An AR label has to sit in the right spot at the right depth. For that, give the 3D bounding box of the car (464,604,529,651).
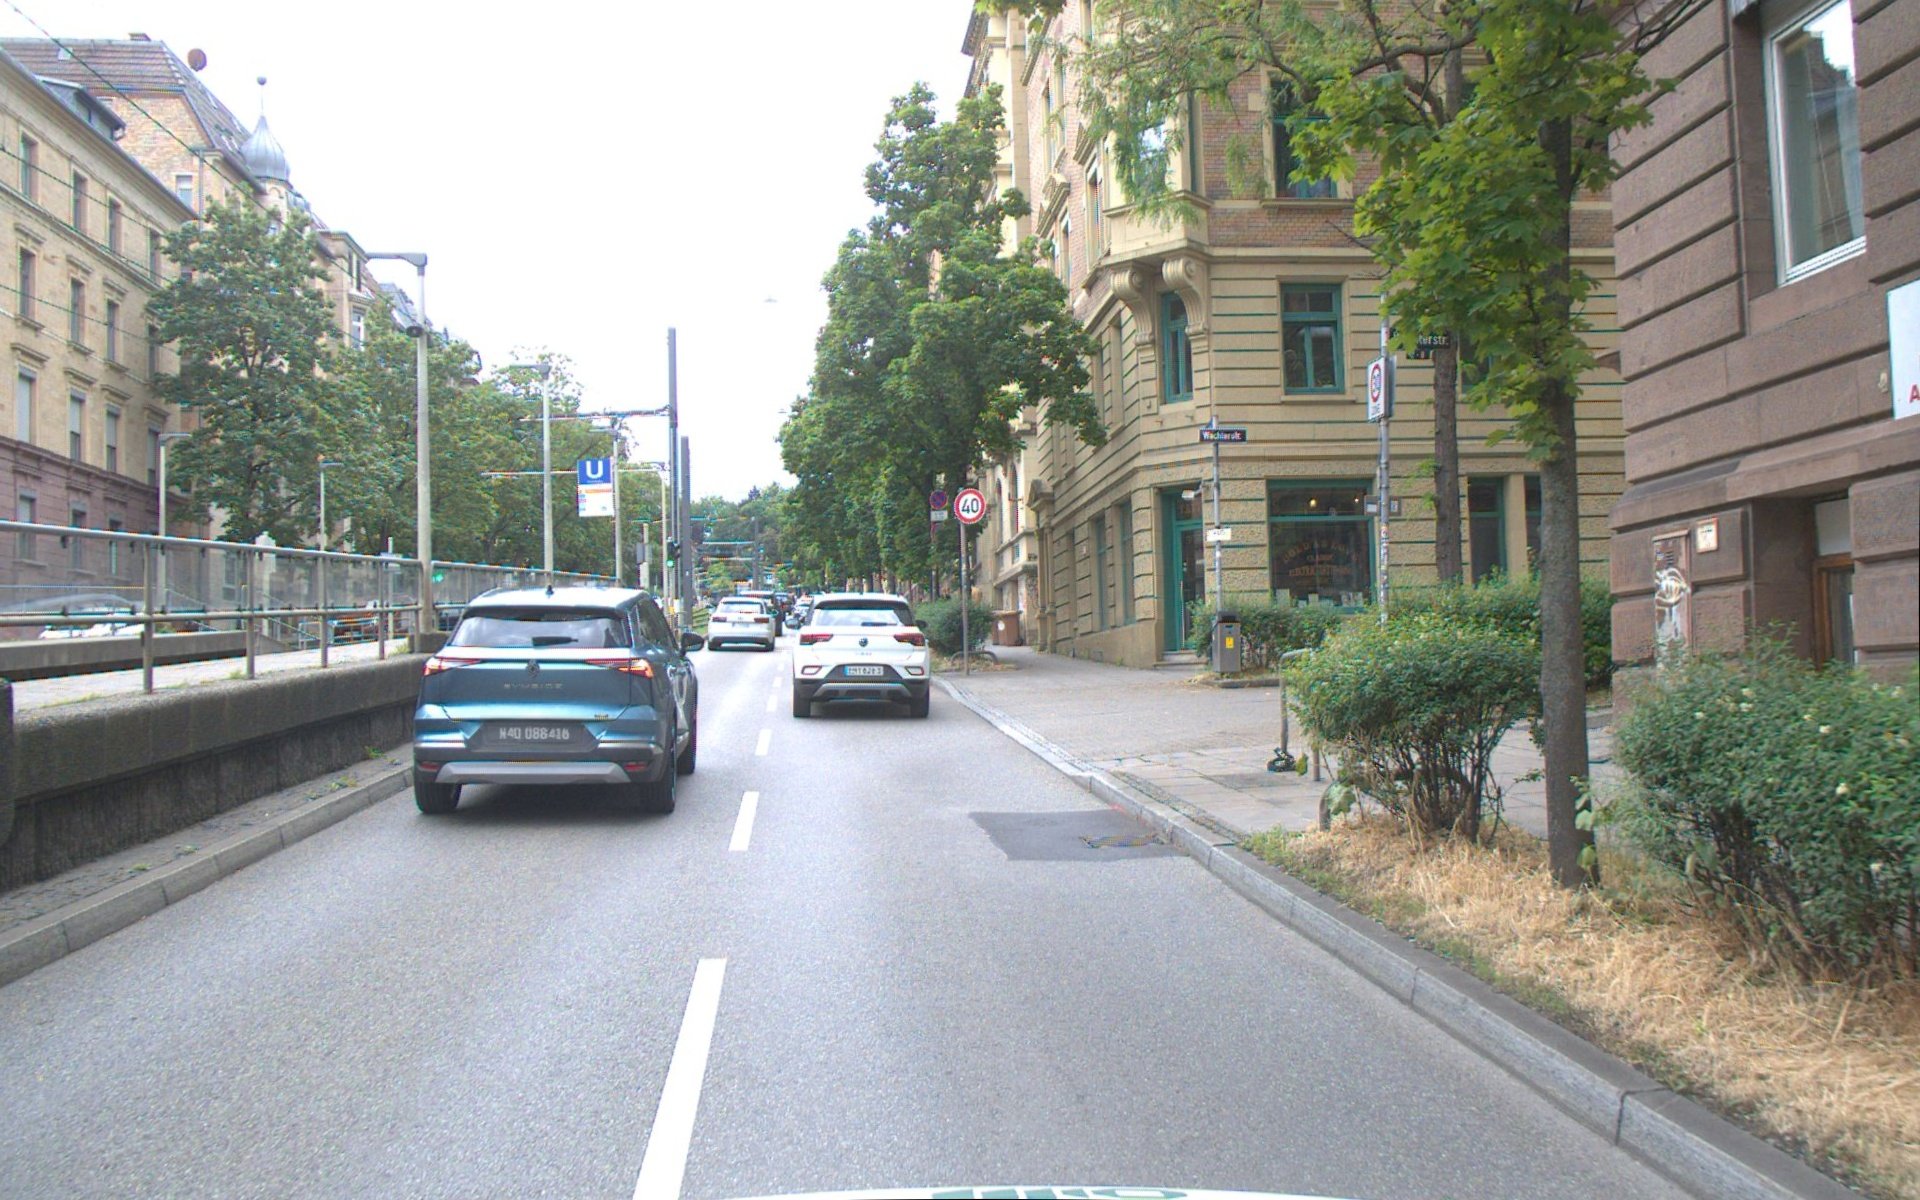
[{"bbox_3d":[-18.791,1.082,67.271,1.676,1.766,4.571,-1,0,-5],"label":"car"}]

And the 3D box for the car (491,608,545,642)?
[{"bbox_3d":[-20.770,1.175,77.824,1.645,1.472,4.214,-2,0,-5],"label":"car"}]

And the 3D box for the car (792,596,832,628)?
[{"bbox_3d":[-7.669,0.612,85.536,2.028,1.574,4.188,0,0,-6],"label":"car"}]

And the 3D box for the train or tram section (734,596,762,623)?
[{"bbox_3d":[-27.943,1.284,218.239,2.937,3.407,13.425,-1,0,-5],"label":"train or tram section"}]

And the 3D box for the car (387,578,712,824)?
[{"bbox_3d":[-2.953,0.667,12.772,1.800,1.574,4.188,0,0,-5],"label":"car"}]

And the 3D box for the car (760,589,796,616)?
[{"bbox_3d":[-10.914,0.164,99.026,2.030,1.574,4.185,0,0,-8],"label":"car"}]

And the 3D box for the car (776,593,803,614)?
[{"bbox_3d":[-13.135,0.298,127.068,2.029,1.574,4.187,0,0,-7],"label":"car"}]

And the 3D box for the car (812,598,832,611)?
[{"bbox_3d":[-16.494,0.537,197.662,2.030,1.574,4.184,0,0,-9],"label":"car"}]

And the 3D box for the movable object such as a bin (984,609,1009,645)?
[{"bbox_3d":[1.011,0.742,45.433,0.599,0.935,0.493,-3,0,-3],"label":"movable object such as a bin"}]

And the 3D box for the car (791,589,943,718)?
[{"bbox_3d":[-1.342,0.670,22.295,1.800,1.574,4.187,0,0,-7],"label":"car"}]

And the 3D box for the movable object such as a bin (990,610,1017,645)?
[{"bbox_3d":[1.189,0.745,44.859,0.484,0.935,0.499,-3,0,43],"label":"movable object such as a bin"}]

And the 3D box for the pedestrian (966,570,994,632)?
[{"bbox_3d":[0.620,0.025,51.157,0.672,1.861,1.120,-3,-1,-6],"label":"pedestrian"}]

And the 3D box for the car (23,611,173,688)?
[{"bbox_3d":[-21.357,1.180,41.174,1.898,1.709,3.995,-2,0,-6],"label":"car"}]

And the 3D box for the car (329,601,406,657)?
[{"bbox_3d":[-21.298,1.006,59.630,1.815,1.892,4.130,-1,0,-9],"label":"car"}]

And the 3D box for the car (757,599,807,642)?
[{"bbox_3d":[-6.730,0.761,62.749,1.800,1.574,4.188,0,0,-5],"label":"car"}]

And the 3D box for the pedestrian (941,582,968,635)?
[{"bbox_3d":[-0.175,0.265,51.109,0.672,1.601,1.215,-3,0,-6],"label":"pedestrian"}]

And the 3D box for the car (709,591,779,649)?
[{"bbox_3d":[-6.112,0.549,47.128,1.800,1.574,4.188,0,0,-5],"label":"car"}]

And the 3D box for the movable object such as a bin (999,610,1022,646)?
[{"bbox_3d":[1.354,0.745,44.218,0.489,0.935,0.444,-1,0,14],"label":"movable object such as a bin"}]

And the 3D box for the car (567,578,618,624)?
[{"bbox_3d":[-23.836,0.072,107.497,2.346,2.746,6.510,-3,0,-6],"label":"car"}]
